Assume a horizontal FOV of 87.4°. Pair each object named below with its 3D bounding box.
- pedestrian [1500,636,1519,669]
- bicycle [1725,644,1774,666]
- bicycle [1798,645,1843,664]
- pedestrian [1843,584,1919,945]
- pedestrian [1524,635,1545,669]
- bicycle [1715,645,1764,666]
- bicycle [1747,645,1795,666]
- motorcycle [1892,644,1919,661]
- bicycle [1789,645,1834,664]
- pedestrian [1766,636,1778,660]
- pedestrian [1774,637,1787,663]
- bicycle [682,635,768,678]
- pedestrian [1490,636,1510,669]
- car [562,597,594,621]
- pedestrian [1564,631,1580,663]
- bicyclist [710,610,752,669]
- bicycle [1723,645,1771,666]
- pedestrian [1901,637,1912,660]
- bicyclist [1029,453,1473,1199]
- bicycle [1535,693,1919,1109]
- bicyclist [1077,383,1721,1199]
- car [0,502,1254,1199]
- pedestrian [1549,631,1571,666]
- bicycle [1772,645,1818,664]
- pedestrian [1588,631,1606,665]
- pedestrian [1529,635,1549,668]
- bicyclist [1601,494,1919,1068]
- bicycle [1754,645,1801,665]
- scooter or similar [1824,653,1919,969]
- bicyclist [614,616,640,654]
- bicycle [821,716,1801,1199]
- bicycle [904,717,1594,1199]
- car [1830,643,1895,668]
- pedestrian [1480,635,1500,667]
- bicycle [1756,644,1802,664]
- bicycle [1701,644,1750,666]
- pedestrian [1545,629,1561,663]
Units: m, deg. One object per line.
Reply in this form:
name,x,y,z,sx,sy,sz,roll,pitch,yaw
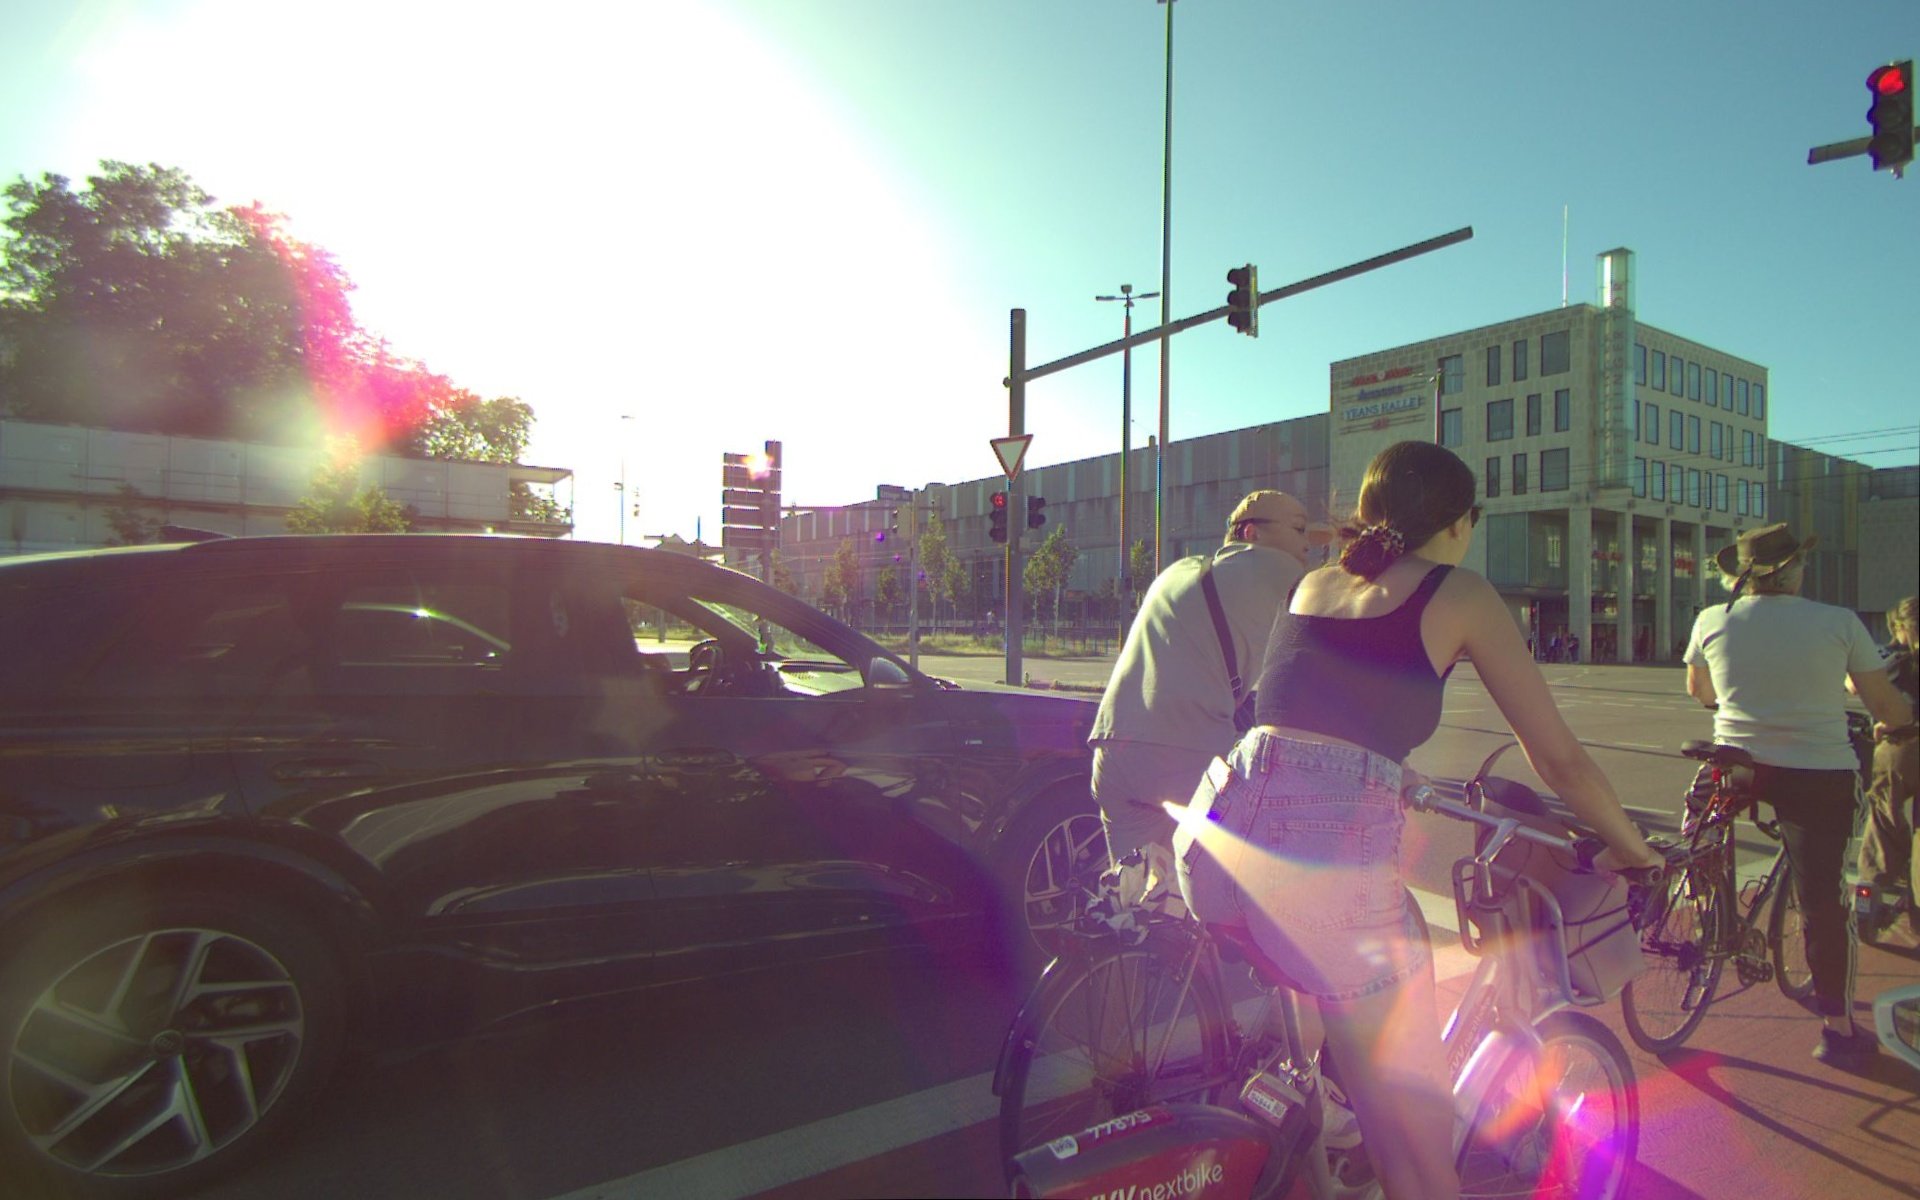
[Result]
pedestrian,33.221,3.169,60.691,0.780,1.910,0.709,2,0,-37
bicycle,48.694,3.389,61.961,0.605,1.238,2.295,1,-1,-31
bicycle,59.821,3.766,69.855,0.605,1.238,2.295,1,-1,-31
pedestrian,4.632,0.764,4.807,0.568,1.654,0.543,2,0,-45
pedestrian,33.394,3.010,58.378,0.710,1.910,0.779,2,0,-36
bicycle,46.962,3.329,60.529,0.605,1.238,2.295,1,-1,-31
bicycle,51.275,3.475,63.553,0.605,1.238,2.295,1,-1,-31
motorcycle,70.736,3.906,74.858,0.508,1.223,1.786,1,0,-44
bicycle,58.849,3.734,69.431,0.605,1.238,2.295,1,-1,-31
pedestrian,57.544,3.398,71.180,0.610,1.702,0.565,1,0,-39
pedestrian,55.744,3.412,68.272,0.639,1.742,0.449,0,-1,37
bicycle,-8.484,2.034,36.260,2.905,1.388,0.970,2,0,16
pedestrian,32.160,3.133,59.870,0.710,1.910,0.779,2,0,-36
car,-32.940,0.740,86.513,1.785,1.908,3.964,2,0,-33
pedestrian,35.627,2.733,58.426,0.784,1.868,0.862,0,-1,32
bicyclist,-8.256,1.405,36.231,1.078,2.040,0.961,2,0,15
bicycle,48.044,3.366,61.340,0.605,1.238,2.295,1,-1,-31
pedestrian,71.094,3.670,75.458,0.579,1.702,0.516,1,1,-43
bicyclist,0.739,0.515,2.608,0.833,1.627,0.712,1,0,-32
bicycle,2.878,0.964,3.681,1.810,1.171,0.482,2,0,-31
bicyclist,0.751,0.536,1.753,0.866,1.600,0.638,1,0,-33
car,-1.155,0.635,3.871,4.630,1.656,1.760,1,0,-32
pedestrian,35.686,2.856,59.758,0.767,2.040,0.876,2,0,-41
bicycle,55.517,3.620,66.832,0.605,1.238,2.295,1,-1,-31
pedestrian,35.870,2.697,56.585,0.784,1.868,0.863,0,-1,28
pedestrian,34.404,3.048,59.691,0.710,1.910,0.779,2,0,-36
bicyclist,2.868,0.559,3.554,0.856,1.743,0.657,2,0,-30
bicycle,52.899,3.532,65.021,0.605,1.238,2.295,1,-1,-31
scooter or similar,4.491,0.928,4.715,1.186,1.311,0.541,2,0,-45
bicyclist,-18.527,1.961,55.926,0.985,2.040,1.088,2,0,-40
bicycle,0.712,0.891,1.738,1.811,1.234,0.612,1,0,-33
bicycle,0.861,0.955,2.693,1.949,1.124,0.643,1,0,-33
car,49.781,3.064,55.412,3.956,1.359,1.621,2,-4,-32
pedestrian,32.386,3.114,61.372,0.710,1.910,0.779,2,0,-36
bicycle,54.278,3.581,66.569,0.605,1.238,2.295,1,-1,-31
bicycle,45.760,3.291,60.085,0.605,1.238,2.295,1,-1,-31
pedestrian,34.266,2.671,58.059,0.705,1.910,0.785,2,0,33
